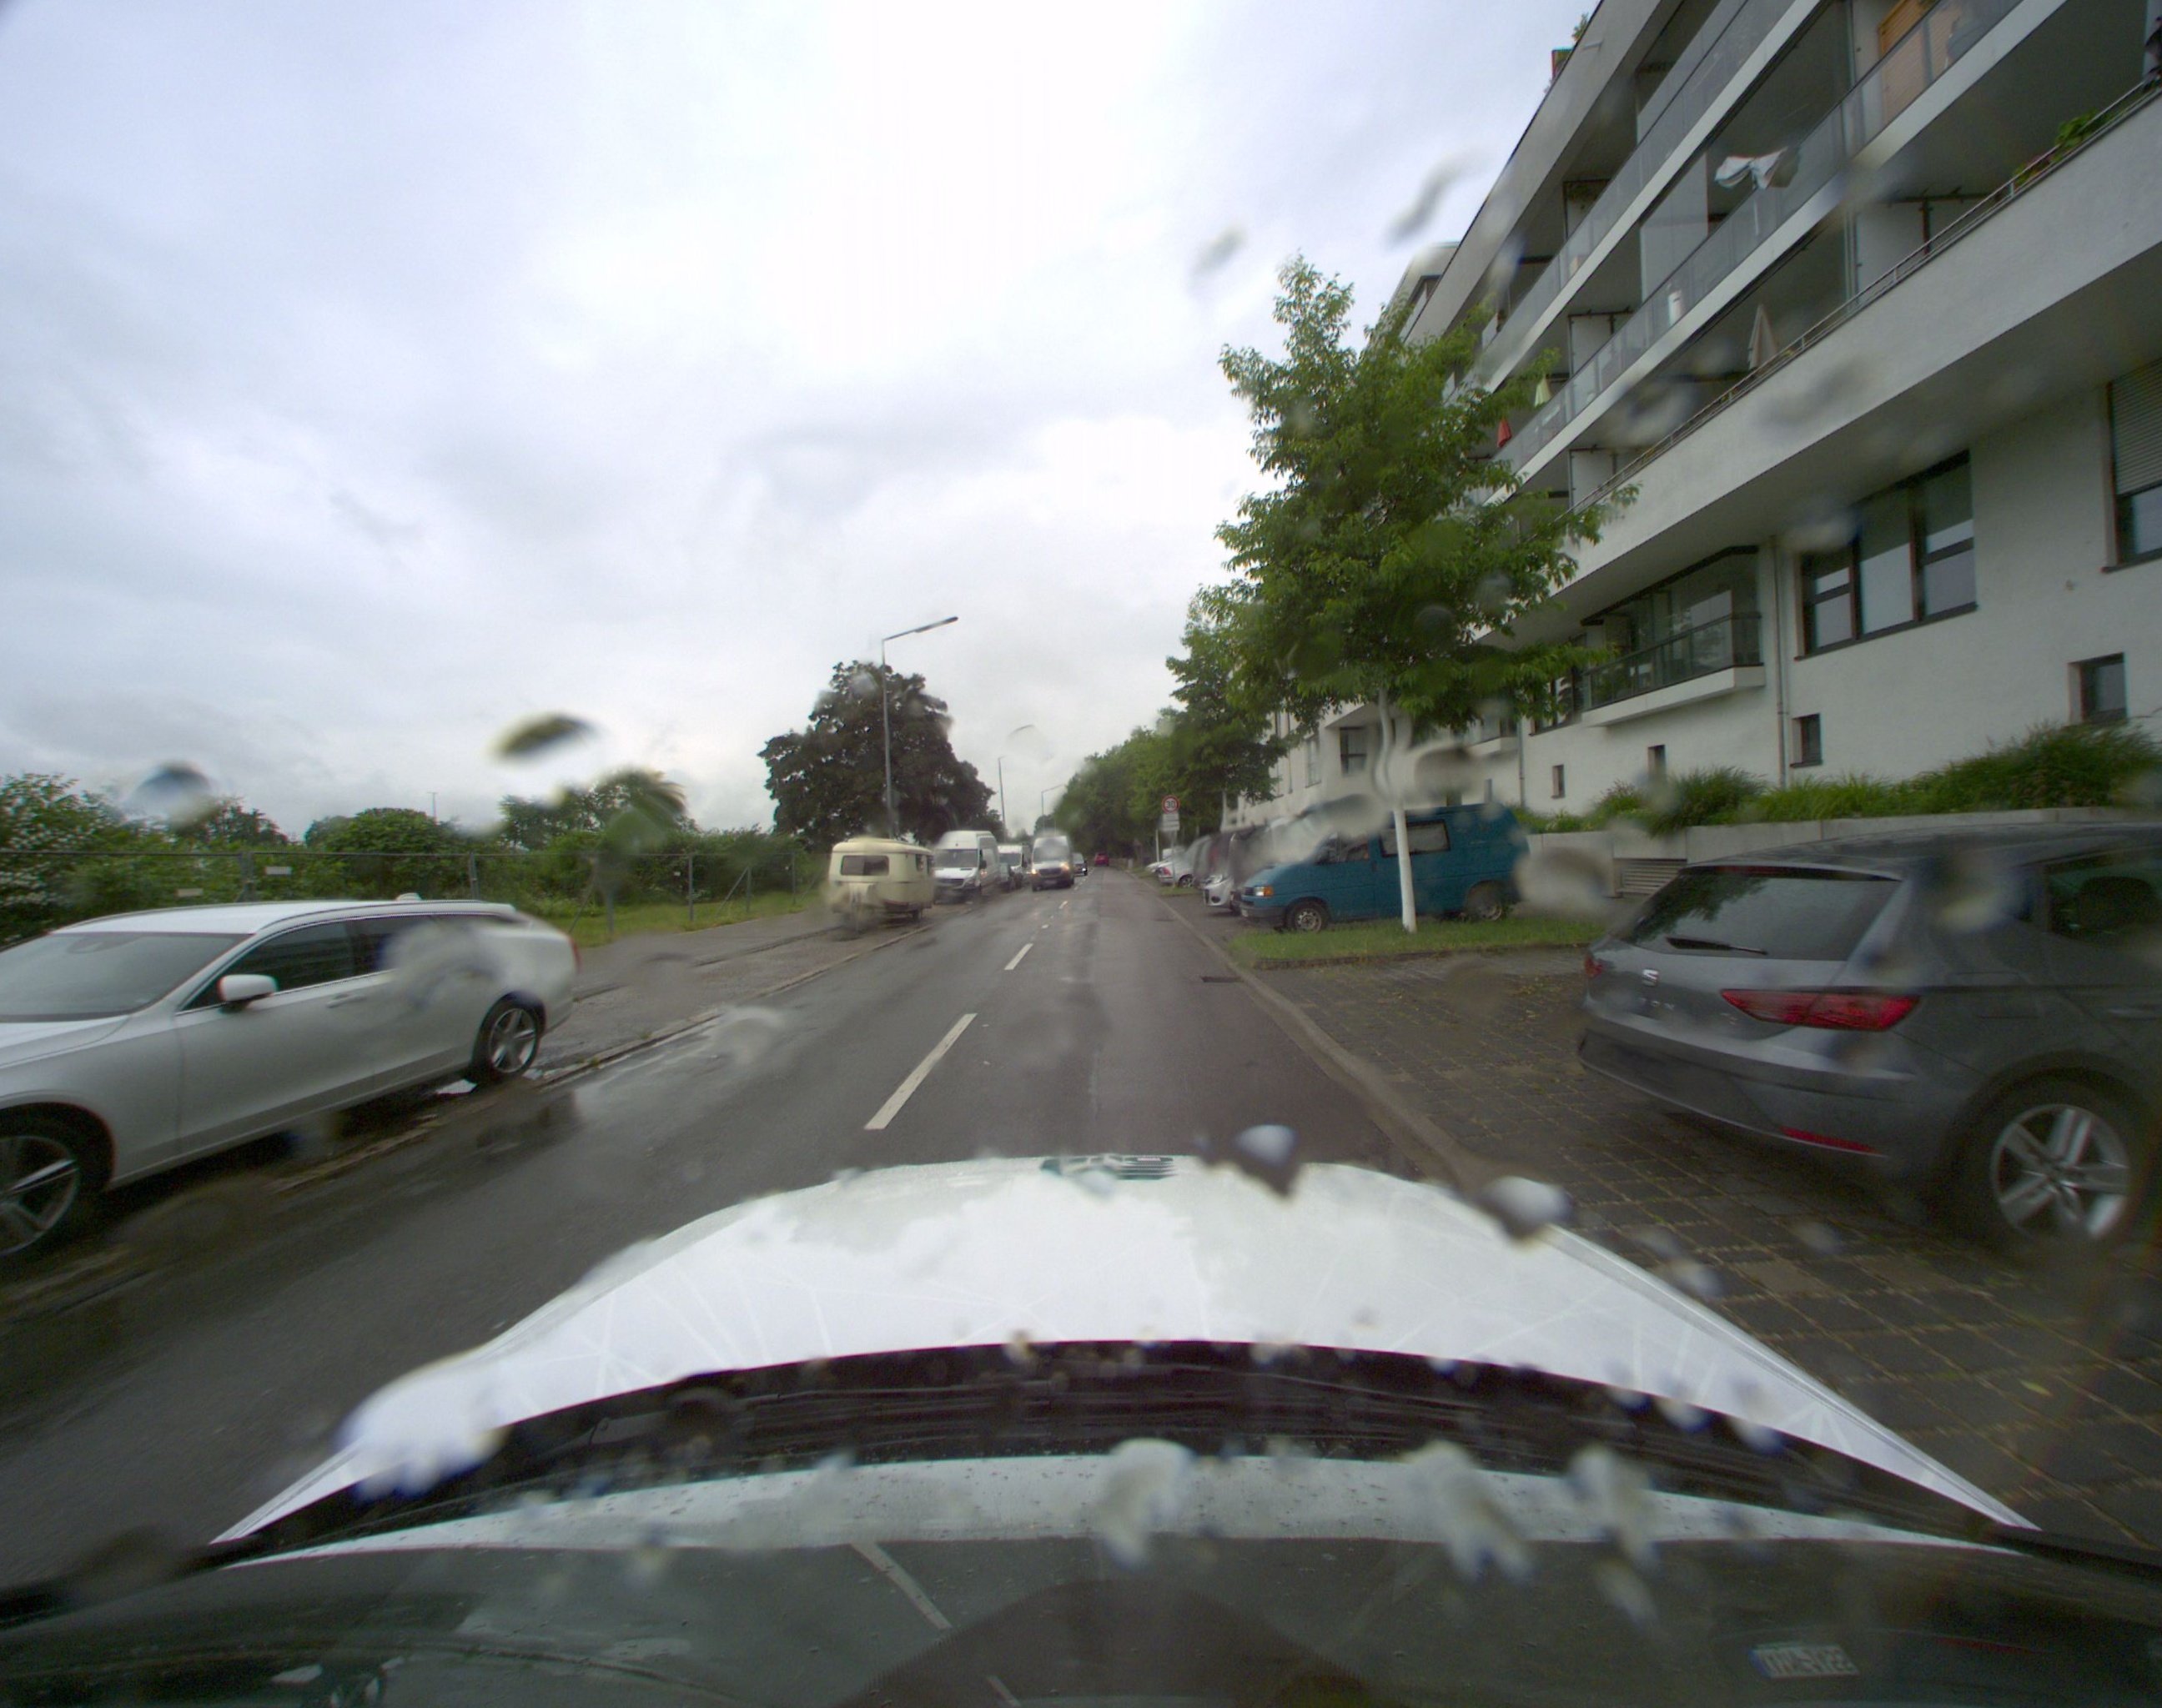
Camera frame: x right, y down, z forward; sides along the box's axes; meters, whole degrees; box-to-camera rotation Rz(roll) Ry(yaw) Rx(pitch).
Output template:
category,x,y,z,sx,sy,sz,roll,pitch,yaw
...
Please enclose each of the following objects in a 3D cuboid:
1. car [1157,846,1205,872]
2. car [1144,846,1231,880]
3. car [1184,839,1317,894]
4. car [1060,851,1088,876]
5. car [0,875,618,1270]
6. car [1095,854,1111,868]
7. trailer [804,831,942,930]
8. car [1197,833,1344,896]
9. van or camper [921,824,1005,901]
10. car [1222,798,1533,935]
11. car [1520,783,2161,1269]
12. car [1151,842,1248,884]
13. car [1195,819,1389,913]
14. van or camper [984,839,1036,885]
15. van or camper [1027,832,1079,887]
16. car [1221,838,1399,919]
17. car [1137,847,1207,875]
category,x,y,z,sx,sy,sz,roll,pitch,yaw
car,9.156,0.427,74.255,3.952,2.292,1.786,-1,0,22
car,5.666,0.490,43.627,4.372,1.633,2.006,-2,0,1
car,5.490,0.406,26.719,3.875,1.600,1.861,-2,0,-4
car,-0.517,0.706,62.564,1.874,1.757,4.071,-2,0,3
car,-5.393,0.983,5.170,1.880,1.526,5.110,-1,0,1
car,2.868,0.864,106.899,1.748,1.706,4.005,-2,-1,5
trailer,-5.199,0.590,21.302,2.052,2.218,5.794,0,0,0
car,5.566,0.301,24.192,3.875,1.681,1.861,-2,0,-4
van or camper,-4.656,0.334,33.544,1.986,2.762,7.902,-1,0,2
car,4.931,0.195,13.972,4.607,2.019,1.856,-2,0,-3
car,4.369,0.468,3.527,4.019,1.499,1.630,-4,0,-2
car,5.630,0.419,39.122,4.372,1.776,2.006,-2,0,1
car,4.859,0.276,19.158,4.077,1.894,1.728,-3,0,2
van or camper,-4.026,0.458,47.338,2.181,2.461,6.380,-1,0,2
van or camper,-1.308,0.269,41.526,1.985,2.497,7.182,-3,0,3
car,4.615,0.483,16.674,3.244,1.482,1.317,-2,0,0
car,5.715,0.445,51.488,4.086,1.575,1.864,-2,0,-6
